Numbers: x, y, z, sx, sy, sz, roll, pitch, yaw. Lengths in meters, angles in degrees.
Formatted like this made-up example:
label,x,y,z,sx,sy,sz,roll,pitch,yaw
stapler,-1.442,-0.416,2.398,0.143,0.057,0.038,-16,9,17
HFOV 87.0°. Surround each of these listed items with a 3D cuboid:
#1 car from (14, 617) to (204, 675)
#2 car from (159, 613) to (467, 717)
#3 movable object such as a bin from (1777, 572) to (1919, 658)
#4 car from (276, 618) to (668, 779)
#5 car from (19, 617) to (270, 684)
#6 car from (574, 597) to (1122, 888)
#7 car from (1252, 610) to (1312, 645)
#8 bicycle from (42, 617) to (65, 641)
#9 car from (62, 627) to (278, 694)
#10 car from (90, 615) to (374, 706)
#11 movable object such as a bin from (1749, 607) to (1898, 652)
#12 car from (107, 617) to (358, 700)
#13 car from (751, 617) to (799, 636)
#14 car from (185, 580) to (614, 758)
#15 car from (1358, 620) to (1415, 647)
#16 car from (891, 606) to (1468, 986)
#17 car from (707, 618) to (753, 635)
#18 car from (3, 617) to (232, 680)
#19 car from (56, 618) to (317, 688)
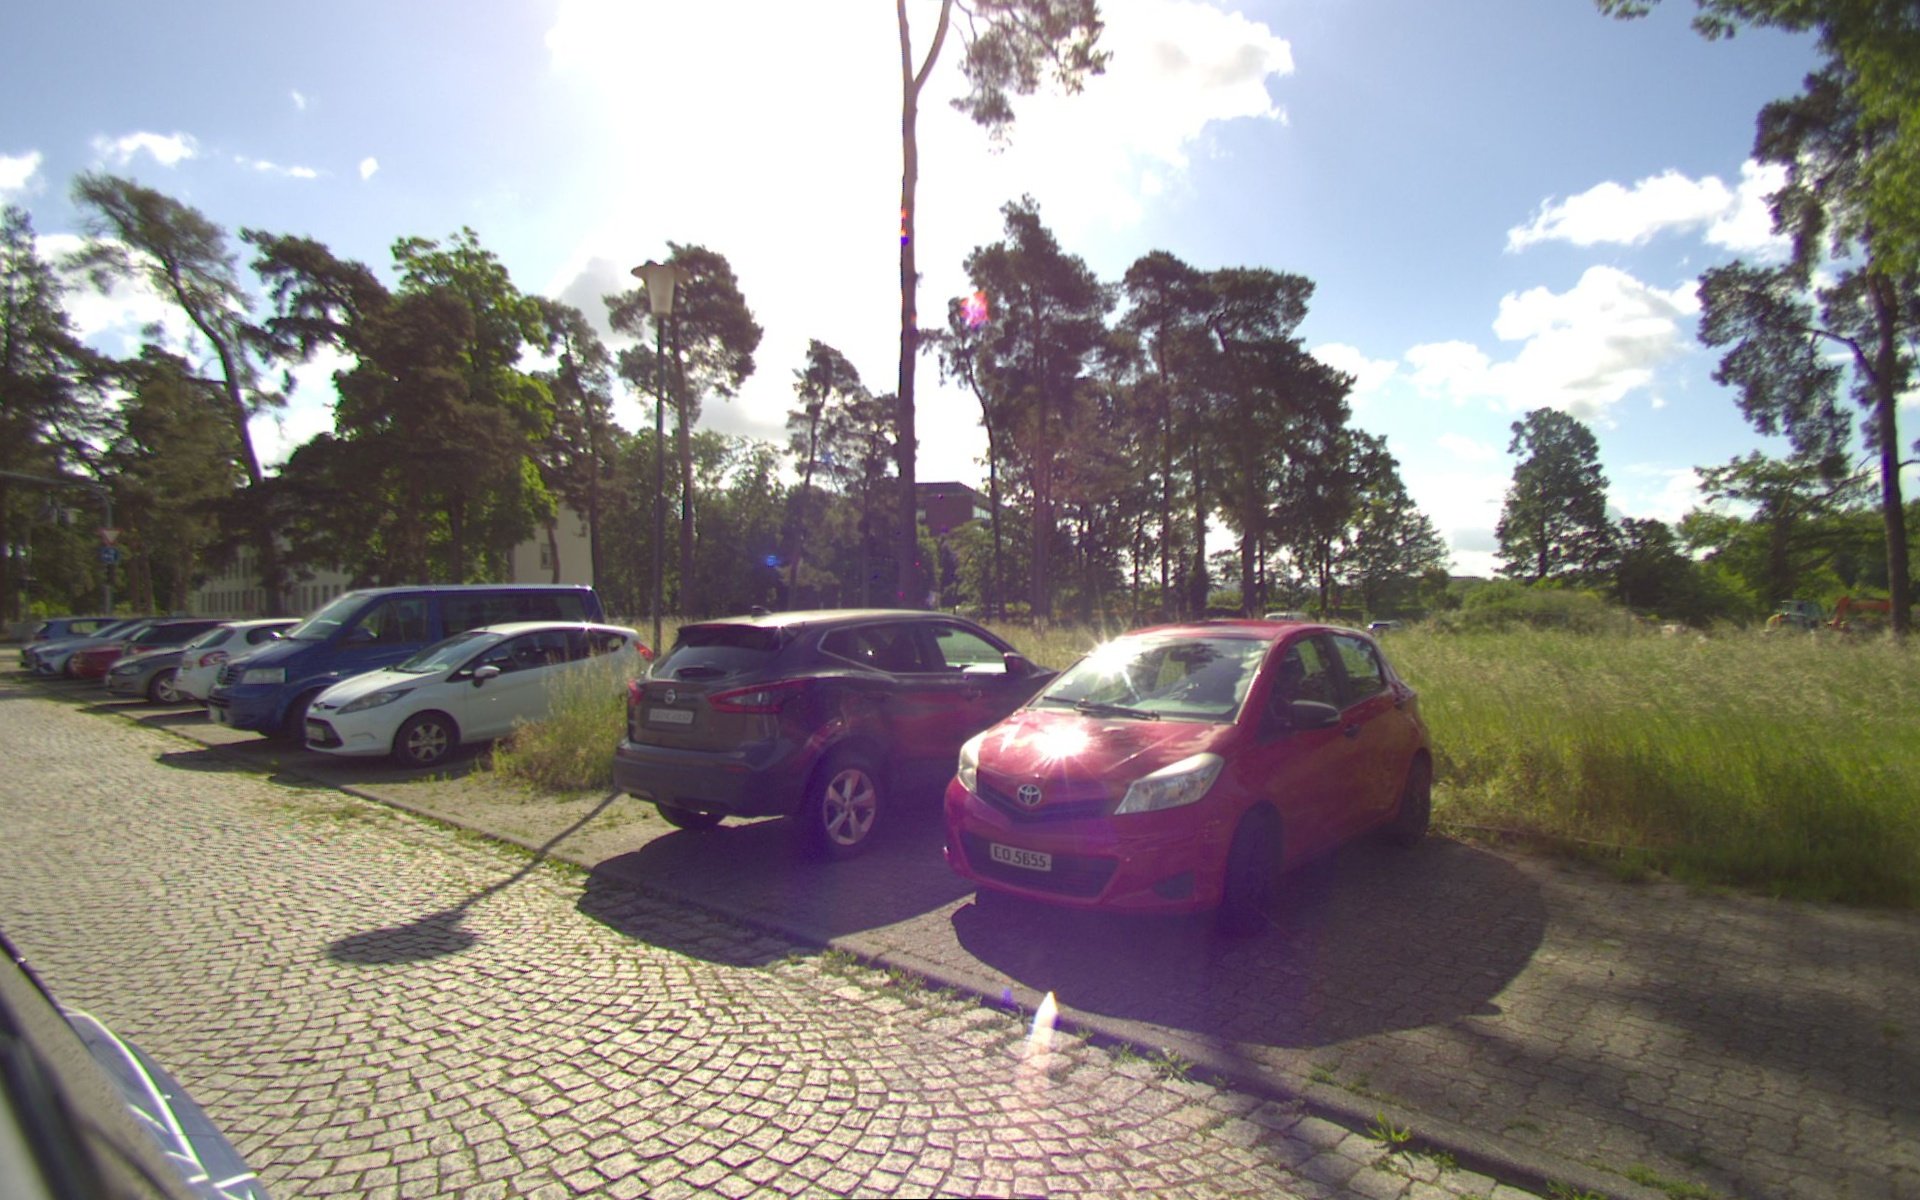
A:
label,x,y,z,sx,sy,sz,roll,pitch,yaw
car,-24.865,1.296,29.676,1.947,1.494,3.986,-2,-1,39
car,-11.046,1.016,17.493,1.823,1.486,4.152,-1,0,41
movable object such as a bin,41.952,0.695,45.752,6.734,3.759,3.908,0,-1,18
car,-5.518,0.987,11.820,1.681,1.451,3.779,-1,0,38
car,-20.896,1.228,26.110,1.938,1.431,4.813,0,1,41
car,-0.631,0.811,7.794,1.972,1.579,3.914,-2,0,40
car,20.934,1.784,65.673,1.957,2.180,4.793,-1,-2,42
bicycle,-50.063,1.608,55.893,2.113,1.293,0.613,-1,1,40
car,-17.671,1.300,22.727,1.760,1.243,3.591,0,1,42
car,-13.548,1.050,19.008,1.923,1.436,4.033,-1,0,42
movable object such as a bin,43.513,1.469,51.242,2.491,2.142,5.683,1,-1,-3
car,-15.283,1.148,21.407,1.821,1.463,4.033,0,1,42
car,-16.765,2.388,91.698,1.841,1.642,4.002,-1,-2,43
car,-7.339,0.742,13.674,2.004,1.983,4.668,-1,0,41
car,25.954,2.017,61.485,1.912,1.617,4.183,-1,-2,42
car,1.598,0.819,6.196,1.865,1.460,3.884,-1,0,40
car,-22.082,2.526,97.153,1.720,1.593,4.050,-1,-2,43
car,-23.015,1.265,27.815,1.982,1.463,4.538,0,0,38
car,-18.864,1.209,24.875,1.938,1.431,4.813,-1,0,41
